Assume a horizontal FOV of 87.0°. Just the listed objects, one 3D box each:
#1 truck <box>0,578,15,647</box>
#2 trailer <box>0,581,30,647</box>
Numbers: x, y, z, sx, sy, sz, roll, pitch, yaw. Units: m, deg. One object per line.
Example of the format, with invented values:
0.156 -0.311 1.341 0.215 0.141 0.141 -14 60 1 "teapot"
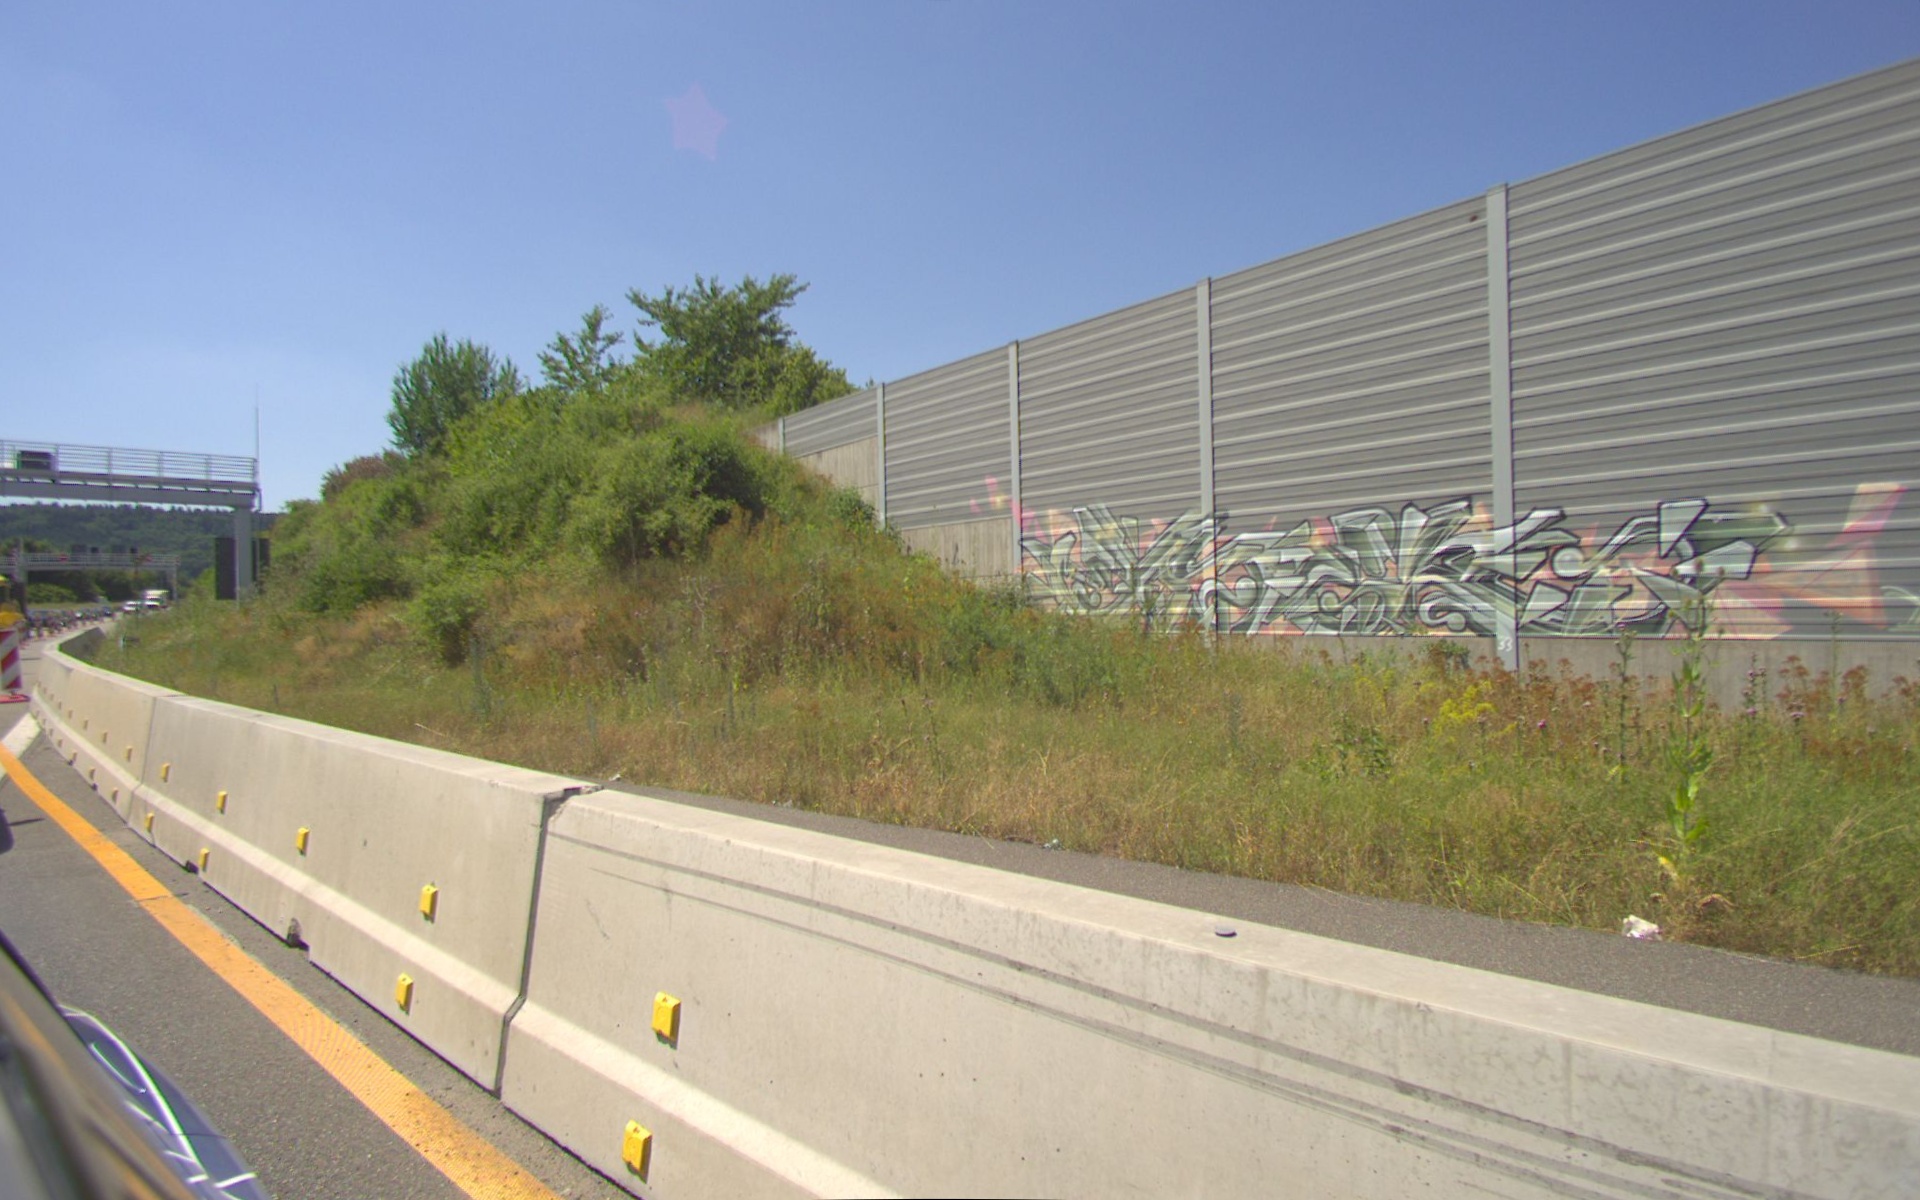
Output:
-54.883 0.827 56.124 3.181 3.688 7.094 -2 0 -40 "truck"
-60.313 1.050 62.604 3.188 3.695 17.450 -2 0 -40 "trailer"
